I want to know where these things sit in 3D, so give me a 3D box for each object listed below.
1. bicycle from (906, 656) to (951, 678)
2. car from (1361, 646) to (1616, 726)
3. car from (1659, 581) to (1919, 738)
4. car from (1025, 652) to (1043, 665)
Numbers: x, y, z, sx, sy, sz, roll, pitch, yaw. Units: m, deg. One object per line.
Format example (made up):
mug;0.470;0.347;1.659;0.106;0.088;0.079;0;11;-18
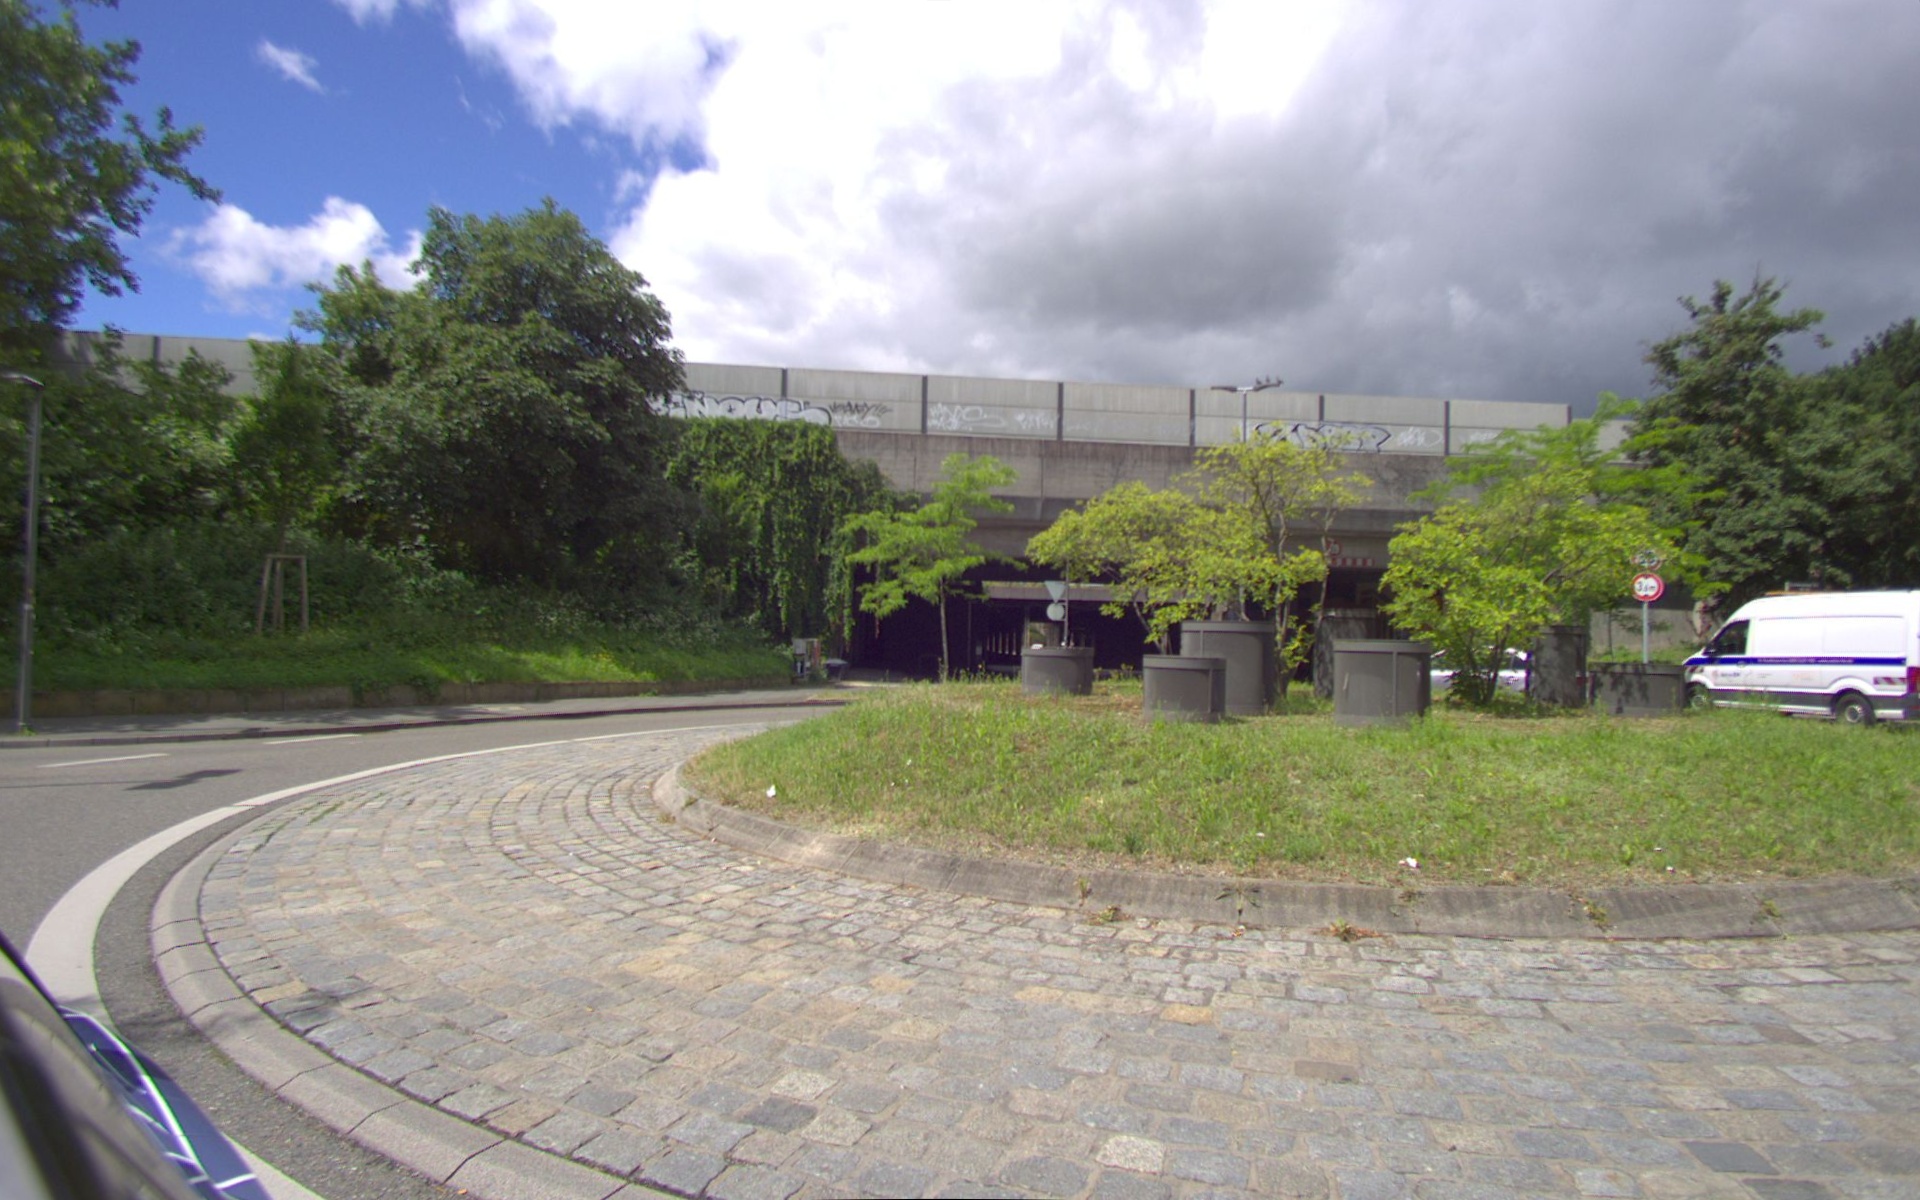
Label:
bicycle;-1.405;2.932;44.451;1.922;0.911;0.507;2;-2;-3
car;10.030;1.570;19.420;1.689;1.364;4.004;3;-4;-43
car;16.803;1.116;19.599;1.944;2.627;5.936;0;-3;-5
car;9.049;7.152;124.252;1.652;1.458;3.855;2;-3;-4
